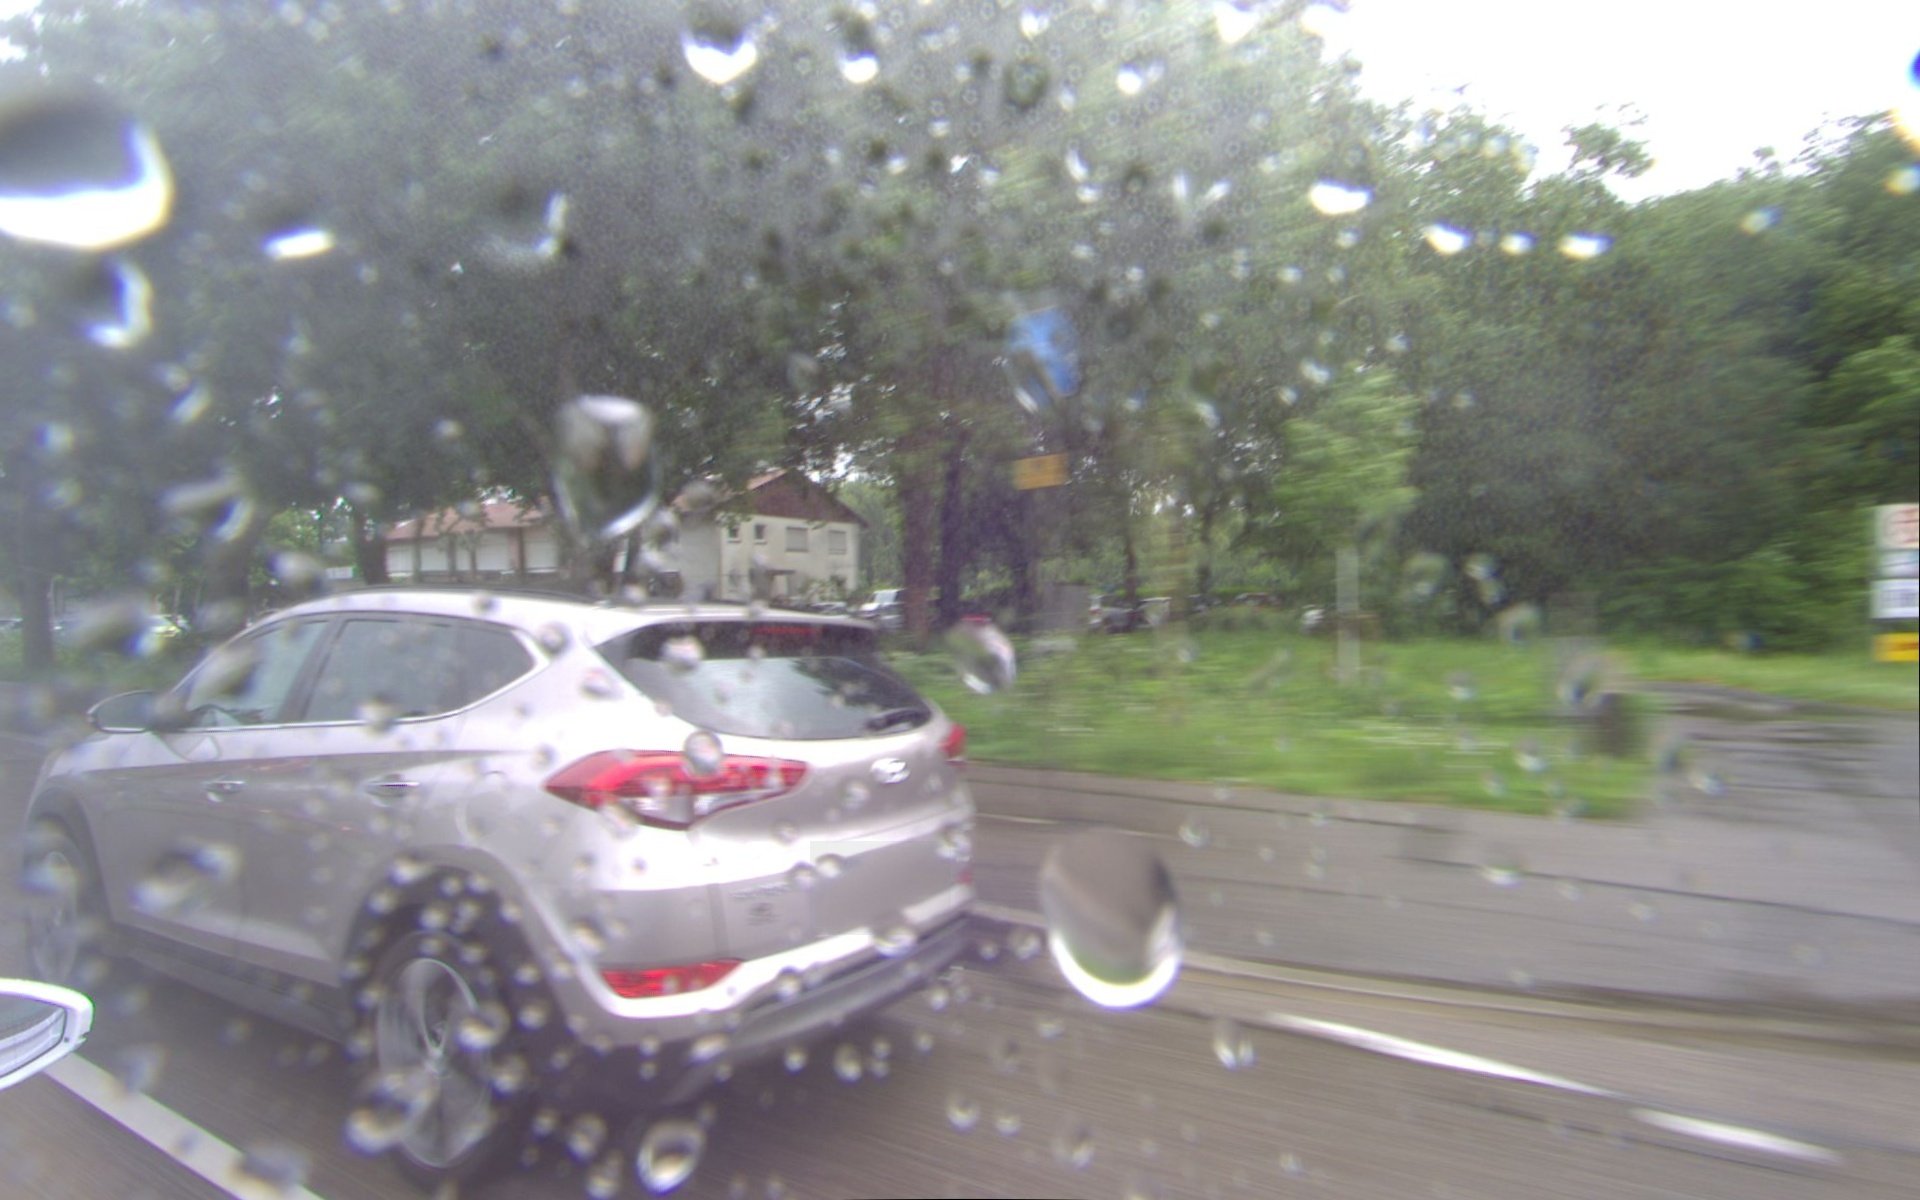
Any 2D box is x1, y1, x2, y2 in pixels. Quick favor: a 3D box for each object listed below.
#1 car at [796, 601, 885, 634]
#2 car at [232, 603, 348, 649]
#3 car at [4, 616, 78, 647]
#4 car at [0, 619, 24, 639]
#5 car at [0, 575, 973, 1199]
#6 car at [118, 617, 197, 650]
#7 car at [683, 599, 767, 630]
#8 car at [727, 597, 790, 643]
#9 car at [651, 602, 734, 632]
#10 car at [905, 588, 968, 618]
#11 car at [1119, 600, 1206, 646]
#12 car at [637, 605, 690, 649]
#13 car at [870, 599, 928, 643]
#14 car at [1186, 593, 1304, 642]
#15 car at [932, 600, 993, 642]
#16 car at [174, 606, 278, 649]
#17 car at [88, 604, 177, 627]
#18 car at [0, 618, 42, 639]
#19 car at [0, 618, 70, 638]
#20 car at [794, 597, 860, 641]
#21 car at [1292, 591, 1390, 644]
[{"bbox_3d":[-5.703,0.859,47.613,4.059,1.519,1.748,-2,-2,34],"label":"car"},{"bbox_3d":[-27.239,1.066,40.675,4.807,1.740,1.990,-1,0,30],"label":"car"},{"bbox_3d":[-52.115,1.784,56.765,4.576,1.647,1.989,-1,0,33],"label":"car"},{"bbox_3d":[-82.988,2.475,85.163,1.968,1.665,4.570,-1,-2,27],"label":"car"},{"bbox_3d":[-2.192,0.793,4.188,4.135,1.631,1.881,0,-1,32],"label":"car"},{"bbox_3d":[-38.192,1.590,47.636,4.013,1.505,1.635,-1,-2,30],"label":"car"},{"bbox_3d":[-11.276,0.722,47.940,3.941,1.403,1.582,-1,-2,30],"label":"car"},{"bbox_3d":[-6.922,0.728,34.192,1.641,1.467,3.745,0,-2,-19],"label":"car"},{"bbox_3d":[-12.284,0.805,45.907,3.646,1.332,1.570,-1,-2,30],"label":"car"},{"bbox_3d":[-1.207,0.184,53.383,1.709,1.474,3.986,-1,-2,27],"label":"car"},{"bbox_3d":[6.959,0.812,34.124,1.647,1.467,3.702,-1,-2,33],"label":"car"},{"bbox_3d":[-9.807,0.915,33.277,1.497,1.369,3.386,0,-2,-13],"label":"car"},{"bbox_3d":[-2.229,0.779,35.810,1.638,1.467,3.751,0,-2,-10],"label":"car"},{"bbox_3d":[9.437,0.632,32.839,2.138,1.467,5.387,-1,-3,34],"label":"car"},{"bbox_3d":[0.041,0.797,36.427,1.573,1.467,3.751,0,-2,-10],"label":"car"},{"bbox_3d":[-32.035,1.193,43.671,4.573,1.740,1.990,-1,0,30],"label":"car"},{"bbox_3d":[-57.191,1.110,69.291,1.916,1.502,4.332,-1,-2,29],"label":"car"},{"bbox_3d":[-80.346,2.423,84.012,1.969,1.727,4.568,-1,-2,28],"label":"car"},{"bbox_3d":[-75.427,2.300,81.199,1.920,1.577,4.558,-1,-2,35],"label":"car"},{"bbox_3d":[-4.733,0.698,35.294,1.641,1.467,3.745,0,-2,-19],"label":"car"},{"bbox_3d":[12.162,0.602,31.816,1.859,1.544,3.973,-2,-3,38],"label":"car"}]
